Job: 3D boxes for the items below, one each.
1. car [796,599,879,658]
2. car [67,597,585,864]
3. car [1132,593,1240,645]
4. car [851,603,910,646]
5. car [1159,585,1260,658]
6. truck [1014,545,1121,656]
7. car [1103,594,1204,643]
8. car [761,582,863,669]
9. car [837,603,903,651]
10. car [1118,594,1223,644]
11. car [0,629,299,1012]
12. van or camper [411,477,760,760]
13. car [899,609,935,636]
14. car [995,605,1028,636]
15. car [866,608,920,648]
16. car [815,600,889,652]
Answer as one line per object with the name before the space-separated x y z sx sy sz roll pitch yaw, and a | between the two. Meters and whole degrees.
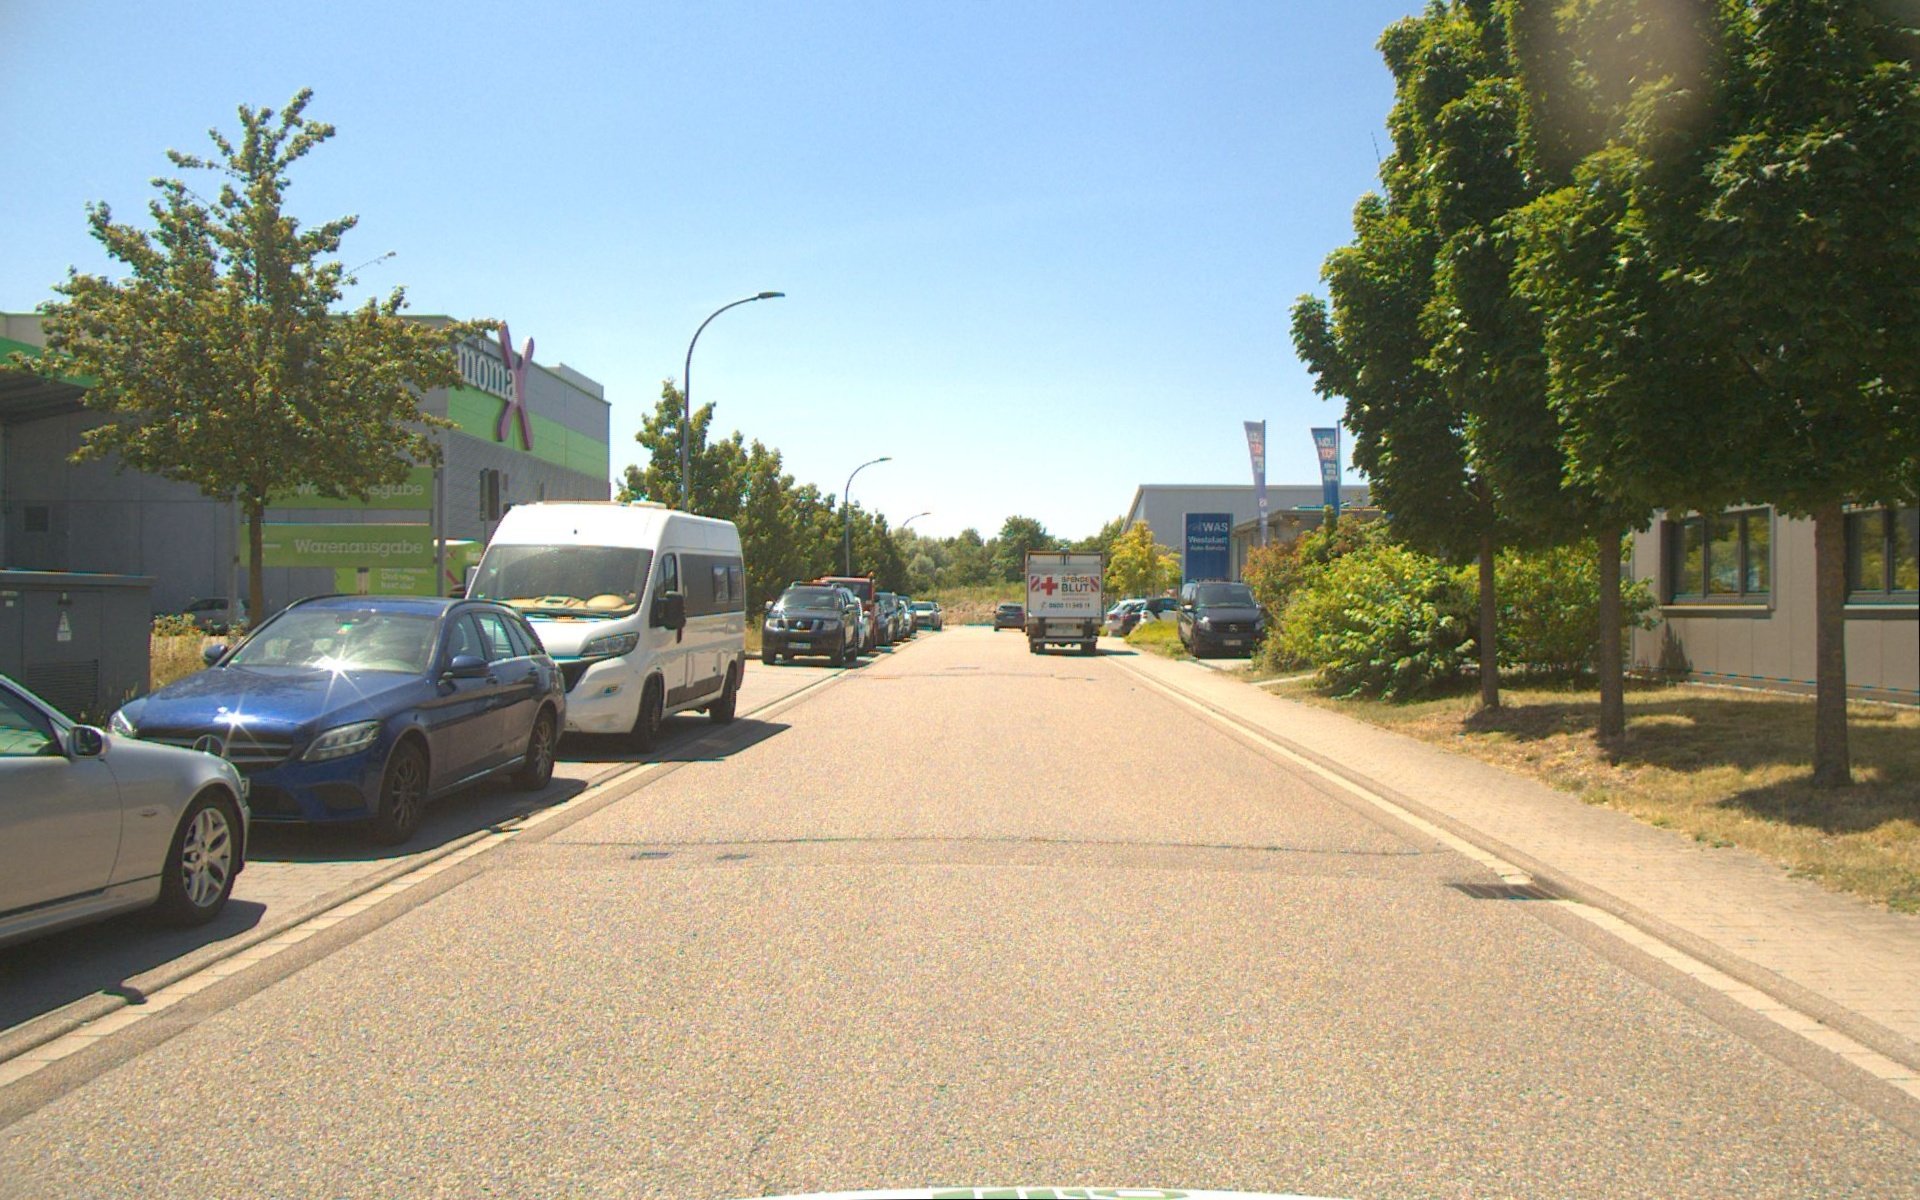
car | -3.344 0.756 45.948 1.761 1.513 4.254 1 0 3
car | -4.076 0.737 11.491 1.761 1.475 4.254 1 0 3
car | 8.545 0.736 62.734 3.797 1.780 1.751 3 -1 -1
car | -2.920 0.889 61.308 1.761 1.513 4.254 1 0 3
car | 6.463 0.554 43.262 1.953 1.835 4.138 0 -1 -1
truck | 3.141 0.047 49.874 2.872 3.026 6.420 2 -1 2
car | 7.859 0.754 67.370 3.797 1.780 1.751 3 -1 -1
car | -3.376 0.560 38.465 1.761 1.881 4.254 1 0 3
car | -3.010 0.881 55.801 1.761 1.513 4.254 1 0 3
car | 8.190 0.740 64.661 3.797 1.780 1.751 3 -1 -1
car | -4.112 0.796 6.275 1.447 1.320 3.900 1 -1 3
van or camper | -3.826 0.203 18.329 2.035 2.526 6.133 2 -1 3
car | -2.461 1.290 95.796 1.761 1.513 4.254 1 0 3
car | 2.886 1.169 94.006 1.752 1.652 3.809 2 -1 1
car | -2.677 1.087 66.894 1.761 1.513 4.254 1 0 3
car | -3.302 0.780 51.227 1.761 1.513 4.254 1 0 3
